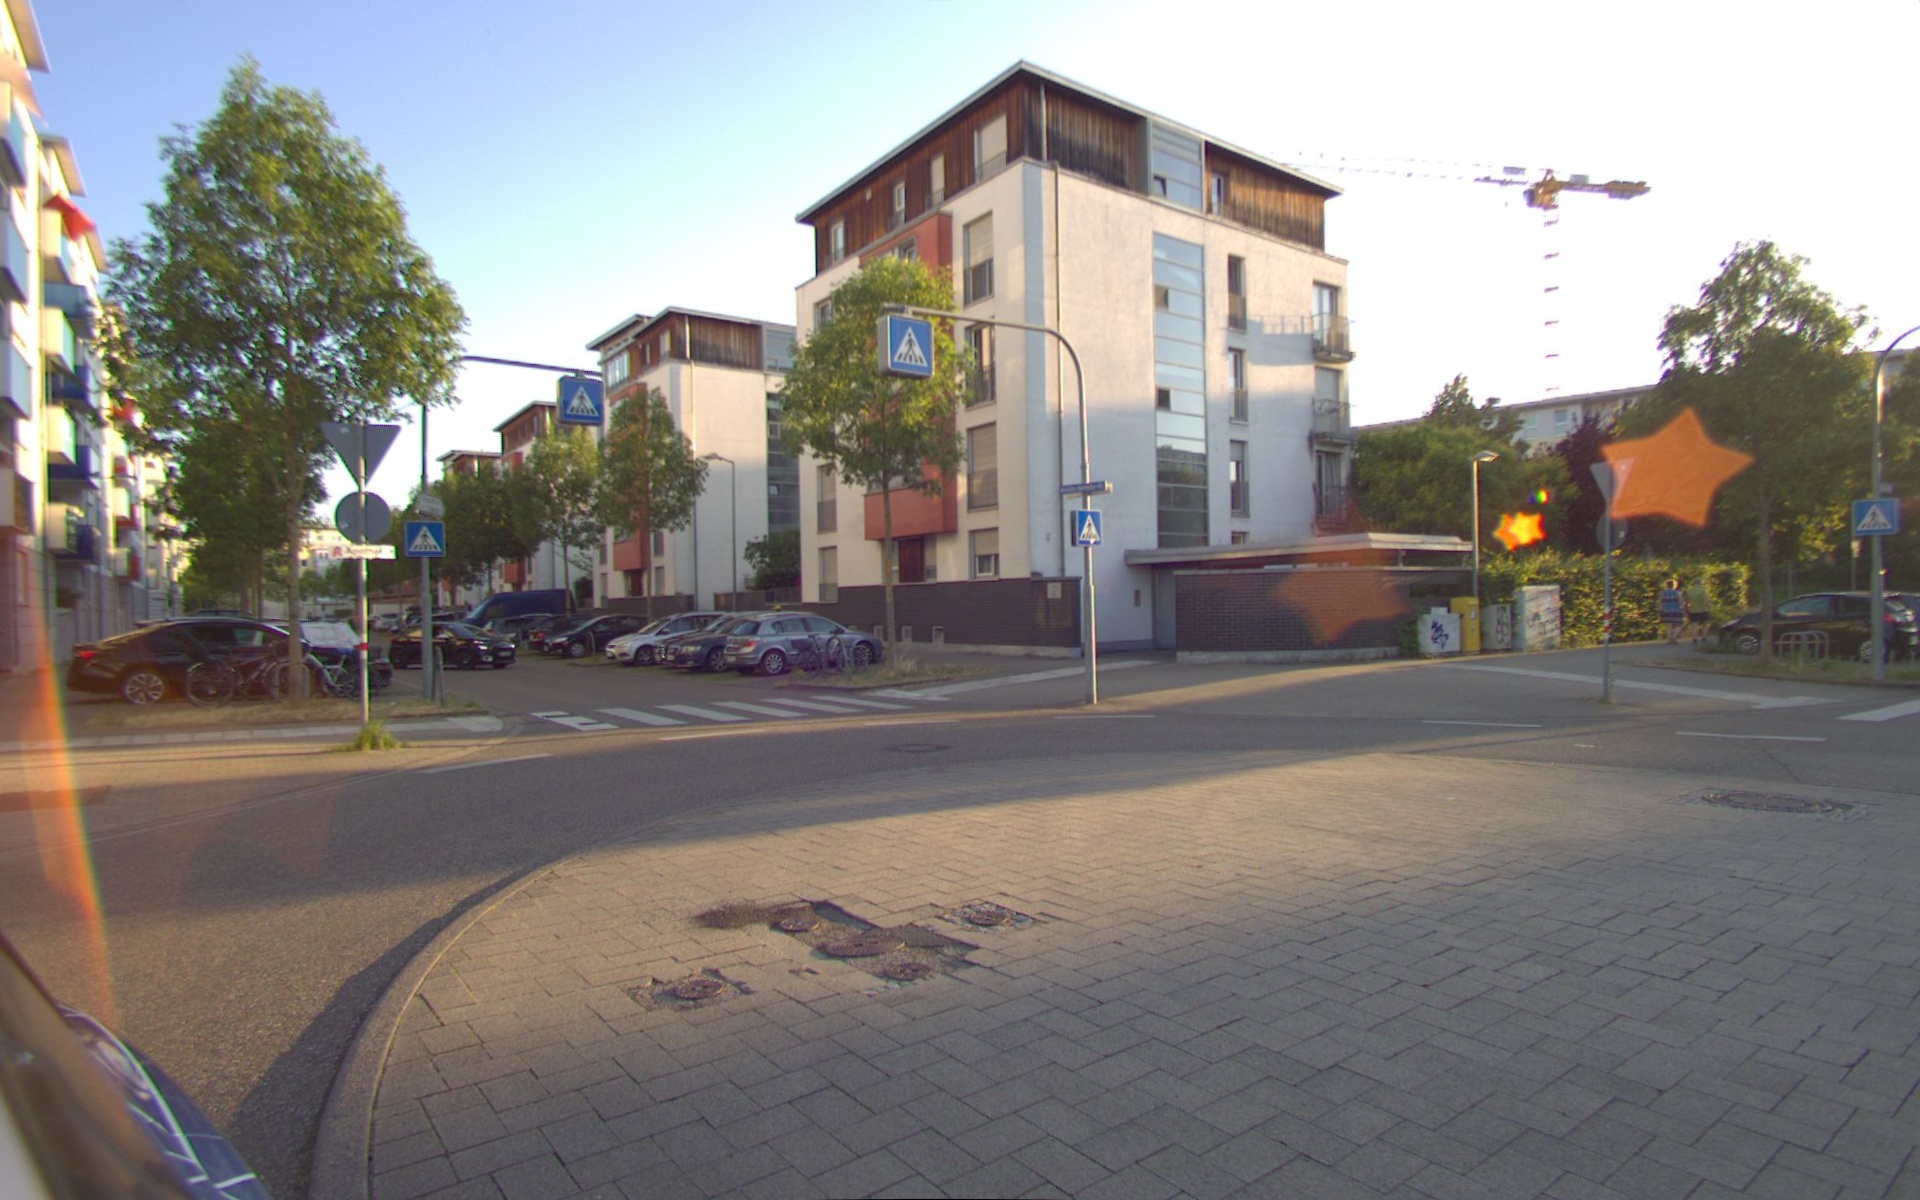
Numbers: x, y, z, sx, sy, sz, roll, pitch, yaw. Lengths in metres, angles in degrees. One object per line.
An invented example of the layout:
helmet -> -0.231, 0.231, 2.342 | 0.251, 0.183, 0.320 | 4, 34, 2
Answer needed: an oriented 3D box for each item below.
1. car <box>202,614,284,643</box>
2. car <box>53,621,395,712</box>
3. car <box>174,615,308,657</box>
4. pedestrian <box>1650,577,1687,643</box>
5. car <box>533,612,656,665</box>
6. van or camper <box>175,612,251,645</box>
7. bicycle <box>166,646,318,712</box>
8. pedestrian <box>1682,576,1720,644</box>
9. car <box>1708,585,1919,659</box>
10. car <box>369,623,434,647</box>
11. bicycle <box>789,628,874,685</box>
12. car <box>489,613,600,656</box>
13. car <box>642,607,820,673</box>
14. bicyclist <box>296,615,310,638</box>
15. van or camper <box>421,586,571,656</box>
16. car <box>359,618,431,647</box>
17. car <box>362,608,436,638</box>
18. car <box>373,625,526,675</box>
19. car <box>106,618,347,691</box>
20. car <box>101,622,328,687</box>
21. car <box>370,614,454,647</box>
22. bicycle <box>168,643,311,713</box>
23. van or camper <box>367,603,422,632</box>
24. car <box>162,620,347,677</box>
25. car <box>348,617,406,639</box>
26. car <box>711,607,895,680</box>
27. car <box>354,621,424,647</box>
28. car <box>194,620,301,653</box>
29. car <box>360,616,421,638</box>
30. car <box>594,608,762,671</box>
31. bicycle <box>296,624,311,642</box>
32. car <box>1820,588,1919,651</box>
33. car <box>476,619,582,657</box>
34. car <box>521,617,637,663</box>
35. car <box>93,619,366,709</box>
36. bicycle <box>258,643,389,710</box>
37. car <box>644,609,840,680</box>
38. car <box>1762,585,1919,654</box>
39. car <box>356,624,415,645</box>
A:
car -> -45.960, 1.856, 64.916 | 4.184, 1.792, 1.697 | 2, -3, -35
car -> -13.215, 1.178, 18.557 | 4.809, 1.469, 1.943 | 2, -3, -34
car -> -27.545, 1.407, 38.844 | 4.040, 1.520, 1.669 | 3, -3, -41
pedestrian -> 17.926, 0.244, 25.621 | 0.654, 1.611, 0.706 | -2, 1, 30
car -> -13.377, 1.371, 37.174 | 3.860, 1.723, 1.727 | -2, 0, -41
van or camper -> -52.313, 2.027, 70.950 | 4.185, 2.228, 1.696 | 2, -3, -37
bicycle -> -11.958, 1.294, 16.908 | 2.003, 1.054, 0.474 | 2, -4, -41
pedestrian -> 18.604, 0.243, 25.420 | 0.622, 1.679, 0.736 | -2, 1, 29
car -> 19.329, 0.473, 22.971 | 1.663, 1.533, 3.419 | -1, 0, -34
car -> -43.099, 2.698, 78.100 | 4.185, 1.800, 1.696 | 2, -3, -37
bicycle -> -2.866, 1.238, 22.641 | 1.794, 1.074, 0.568 | -5, 1, -39
car -> -17.757, 1.445, 43.371 | 4.040, 1.638, 1.727 | -2, 0, -41
car -> -6.662, 1.123, 29.664 | 4.709, 1.566, 1.715 | -3, 0, -33
bicyclist -> -48.000, 1.946, 73.949 | 0.755, 1.640, 0.664 | -1, -1, -38
van or camper -> -22.750, 0.985, 49.787 | 6.219, 3.110, 2.446 | -2, 0, -41
car -> -39.821, 2.314, 71.310 | 4.185, 2.018, 1.696 | 2, -3, -37
car -> -38.443, 1.614, 69.347 | 4.185, 1.945, 1.696 | 2, -3, -37
car -> -15.720, 1.528, 31.207 | 4.143, 1.474, 1.768 | 0, -3, 18
car -> -16.447, 1.222, 22.875 | 4.226, 1.505, 1.746 | 2, -3, -37
car -> -18.052, 1.319, 24.779 | 4.222, 1.469, 1.748 | 2, -3, -28
car -> -33.131, 1.875, 61.230 | 4.185, 1.945, 1.696 | 2, -3, -37
bicycle -> -11.312, 1.200, 15.927 | 1.765, 1.050, 0.568 | 2, -4, -41
van or camper -> -51.994, 1.676, 93.038 | 4.184, 2.554, 1.765 | 2, -3, -36
car -> -20.261, 1.396, 29.155 | 4.228, 1.519, 1.688 | 3, -3, -40
car -> -50.607, 2.467, 87.921 | 4.184, 1.800, 1.697 | 2, -3, -35
car -> -3.891, 1.042, 25.487 | 4.226, 1.468, 1.684 | -4, 1, -39
car -> -41.117, 2.472, 72.887 | 4.185, 1.800, 1.696 | 2, -3, -37
car -> -34.828, 1.813, 49.543 | 4.184, 1.548, 1.697 | 2, -3, -35
car -> -47.196, 2.268, 83.926 | 4.184, 1.800, 1.697 | 2, -3, -35
car -> -8.715, 1.193, 31.572 | 4.688, 1.597, 1.761 | -3, 0, -40
bicycle -> -47.953, 2.395, 73.894 | 0.759, 1.276, 1.785 | -1, -1, -38
car -> 23.708, 0.457, 25.017 | 1.568, 1.511, 3.419 | -1, 0, -34
car -> -19.415, 1.730, 45.639 | 4.040, 1.638, 1.727 | 3, -3, -41
car -> -14.829, 1.532, 39.510 | 3.860, 1.527, 1.727 | -2, 0, -41
car -> -14.752, 1.234, 20.731 | 4.342, 1.519, 1.747 | -2, -1, -33
bicycle -> -10.780, 1.275, 17.193 | 1.811, 1.080, 0.474 | 2, -4, -41
car -> -5.794, 1.146, 27.292 | 4.840, 1.489, 1.714 | -3, 0, -39
car -> 21.265, 0.435, 23.826 | 1.568, 1.511, 3.419 | -1, 0, -34
car -> -48.700, 2.948, 85.867 | 4.184, 1.651, 1.697 | 2, -3, -35
